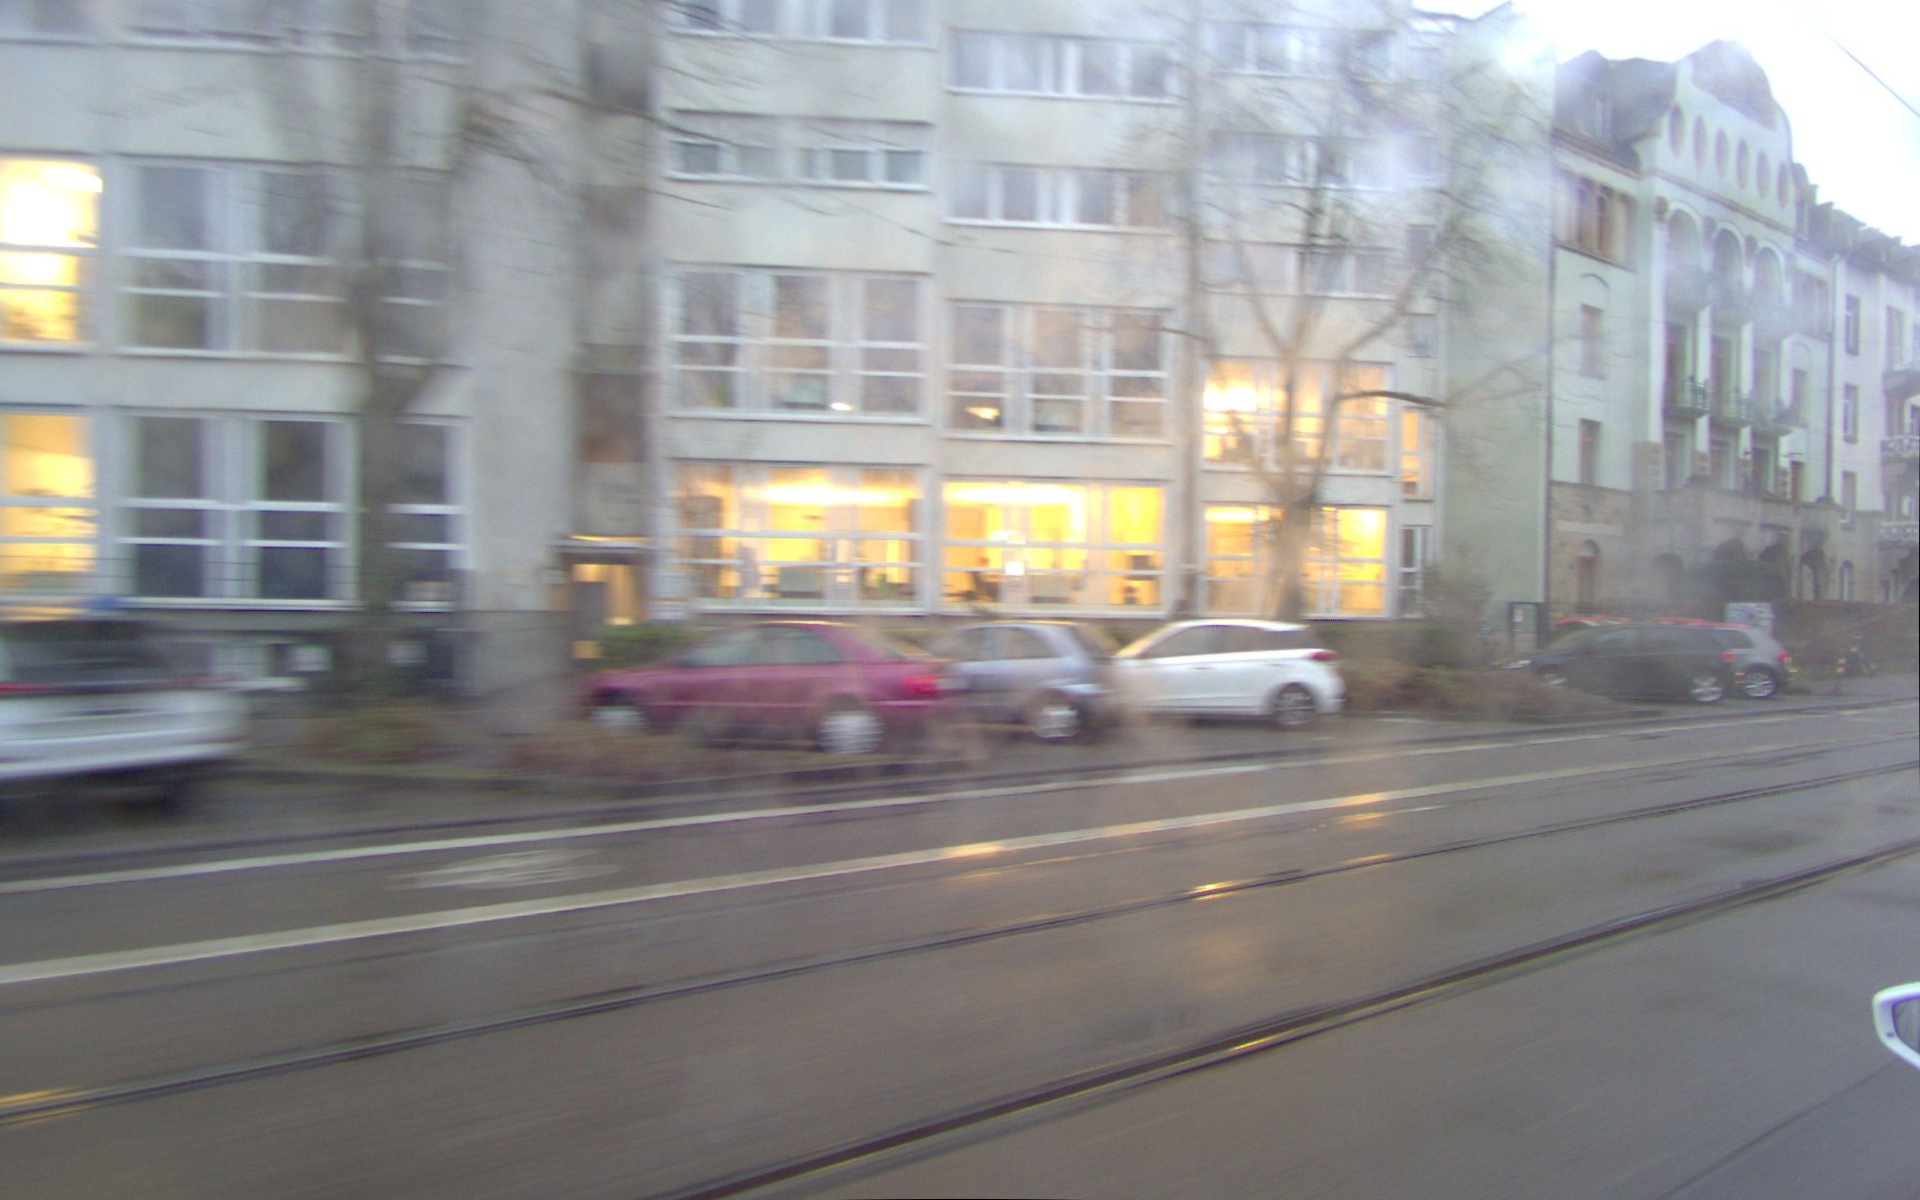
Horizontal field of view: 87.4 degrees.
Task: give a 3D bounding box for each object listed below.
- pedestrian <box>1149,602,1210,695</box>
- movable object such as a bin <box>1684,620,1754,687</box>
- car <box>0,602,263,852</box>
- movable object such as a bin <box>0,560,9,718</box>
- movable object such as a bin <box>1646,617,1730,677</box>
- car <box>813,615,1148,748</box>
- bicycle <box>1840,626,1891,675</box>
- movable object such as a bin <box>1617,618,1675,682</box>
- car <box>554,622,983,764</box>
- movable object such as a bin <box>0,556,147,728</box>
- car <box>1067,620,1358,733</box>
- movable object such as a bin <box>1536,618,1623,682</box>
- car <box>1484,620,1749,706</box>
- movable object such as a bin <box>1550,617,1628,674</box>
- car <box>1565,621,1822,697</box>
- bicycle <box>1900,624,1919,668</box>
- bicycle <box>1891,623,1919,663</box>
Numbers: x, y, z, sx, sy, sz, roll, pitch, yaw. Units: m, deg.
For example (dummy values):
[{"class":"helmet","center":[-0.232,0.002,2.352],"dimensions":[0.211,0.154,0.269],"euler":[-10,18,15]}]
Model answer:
[{"class":"pedestrian","center":[4.087,0.884,18.724],"dimensions":[0.962,1.699,0.594],"euler":[0,0,-31]},{"class":"movable object such as a bin","center":[17.542,1.208,23.232],"dimensions":[1.247,1.470,1.107],"euler":[0,0,38]},{"class":"car","center":[-7.115,0.775,7.265],"dimensions":[3.926,1.463,1.735],"euler":[0,-2,27]},{"class":"movable object such as a bin","center":[-11.791,0.461,11.169],"dimensions":[1.376,1.885,1.563],"euler":[-1,0,-29]},{"class":"movable object such as a bin","center":[18.758,1.182,25.903],"dimensions":[1.307,1.470,1.260],"euler":[0,0,-24]},{"class":"car","center":[0.257,0.949,12.851],"dimensions":[3.924,1.482,1.736],"euler":[0,-2,25]},{"class":"bicycle","center":[23.563,1.298,26.131],"dimensions":[1.581,1.228,0.687],"euler":[0,0,-36]},{"class":"movable object such as a bin","center":[16.492,1.173,24.147],"dimensions":[1.075,1.470,1.107],"euler":[0,0,38]},{"class":"car","center":[-2.004,0.936,10.995],"dimensions":[4.259,1.370,1.751],"euler":[0,-2,11]},{"class":"movable object such as a bin","center":[-10.619,0.467,11.855],"dimensions":[1.302,1.885,1.563],"euler":[-1,0,-29]},{"class":"car","center":[3.528,1.014,14.300],"dimensions":[3.774,1.442,1.738],"euler":[0,0,14]},{"class":"movable object such as a bin","center":[14.840,1.176,24.070],"dimensions":[1.307,1.470,1.260],"euler":[0,0,-24]},{"class":"car","center":[12.571,1.165,19.502],"dimensions":[3.919,1.490,1.833],"euler":[0,0,15]},{"class":"movable object such as a bin","center":[16.778,1.198,26.817],"dimensions":[1.307,1.470,1.260],"euler":[0,0,-24]},{"class":"car","center":[15.135,1.182,20.984],"dimensions":[3.920,1.447,1.849],"euler":[0,0,17]},{"class":"bicycle","center":[27.289,1.297,28.563],"dimensions":[1.583,1.228,0.624],"euler":[0,0,-40]},{"class":"bicycle","center":[31.932,1.422,33.243],"dimensions":[0.483,1.280,1.584],"euler":[5,-4,-26]}]
